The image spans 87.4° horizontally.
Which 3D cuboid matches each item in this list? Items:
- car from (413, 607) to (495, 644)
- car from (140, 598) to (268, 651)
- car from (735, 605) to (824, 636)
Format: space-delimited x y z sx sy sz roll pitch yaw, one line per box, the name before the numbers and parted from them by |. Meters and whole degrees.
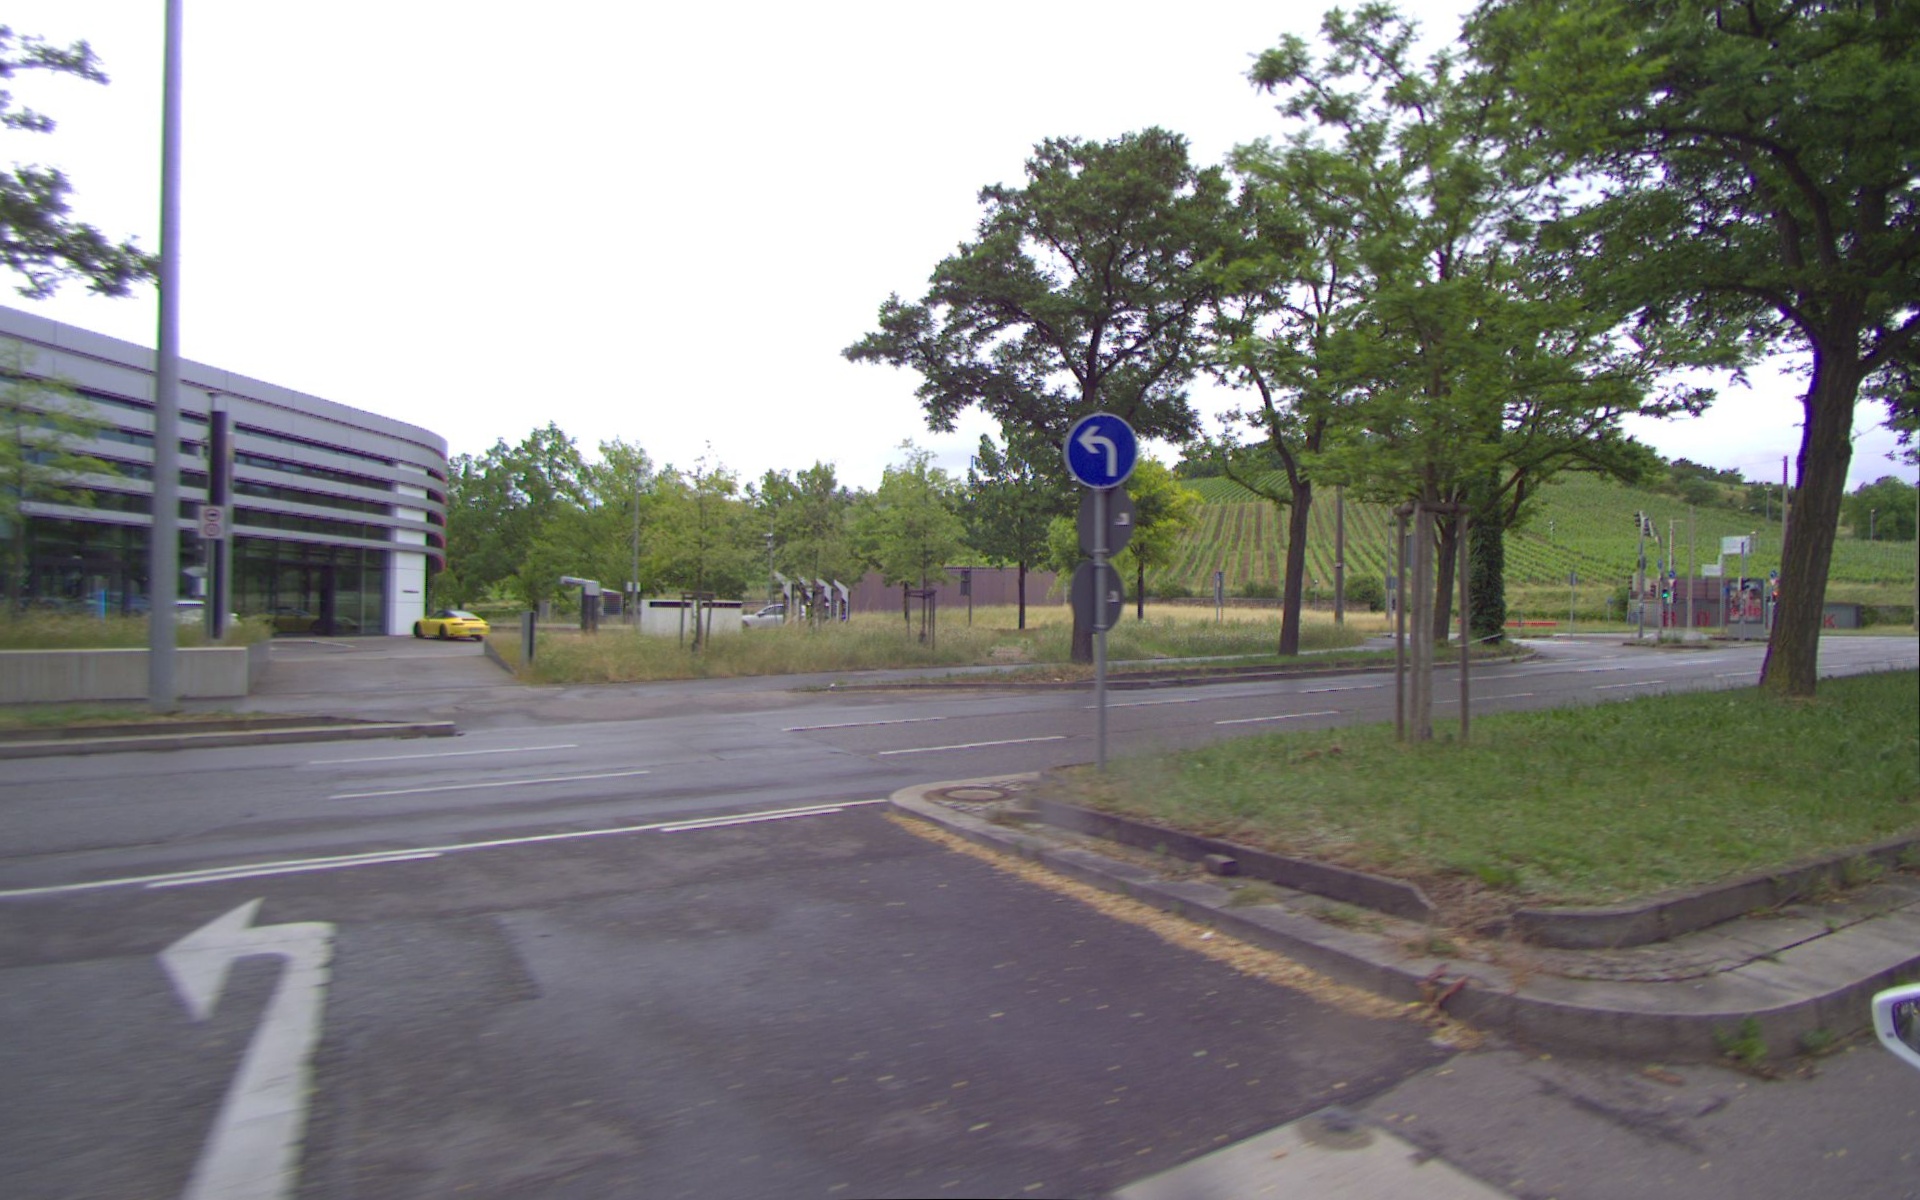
car | -21.950 1.072 43.532 3.936 1.341 1.614 3 1 37
car | -23.690 0.718 31.462 3.928 1.432 1.775 2 1 30
car | -8.300 0.932 46.379 3.927 1.261 1.618 2 1 -8
